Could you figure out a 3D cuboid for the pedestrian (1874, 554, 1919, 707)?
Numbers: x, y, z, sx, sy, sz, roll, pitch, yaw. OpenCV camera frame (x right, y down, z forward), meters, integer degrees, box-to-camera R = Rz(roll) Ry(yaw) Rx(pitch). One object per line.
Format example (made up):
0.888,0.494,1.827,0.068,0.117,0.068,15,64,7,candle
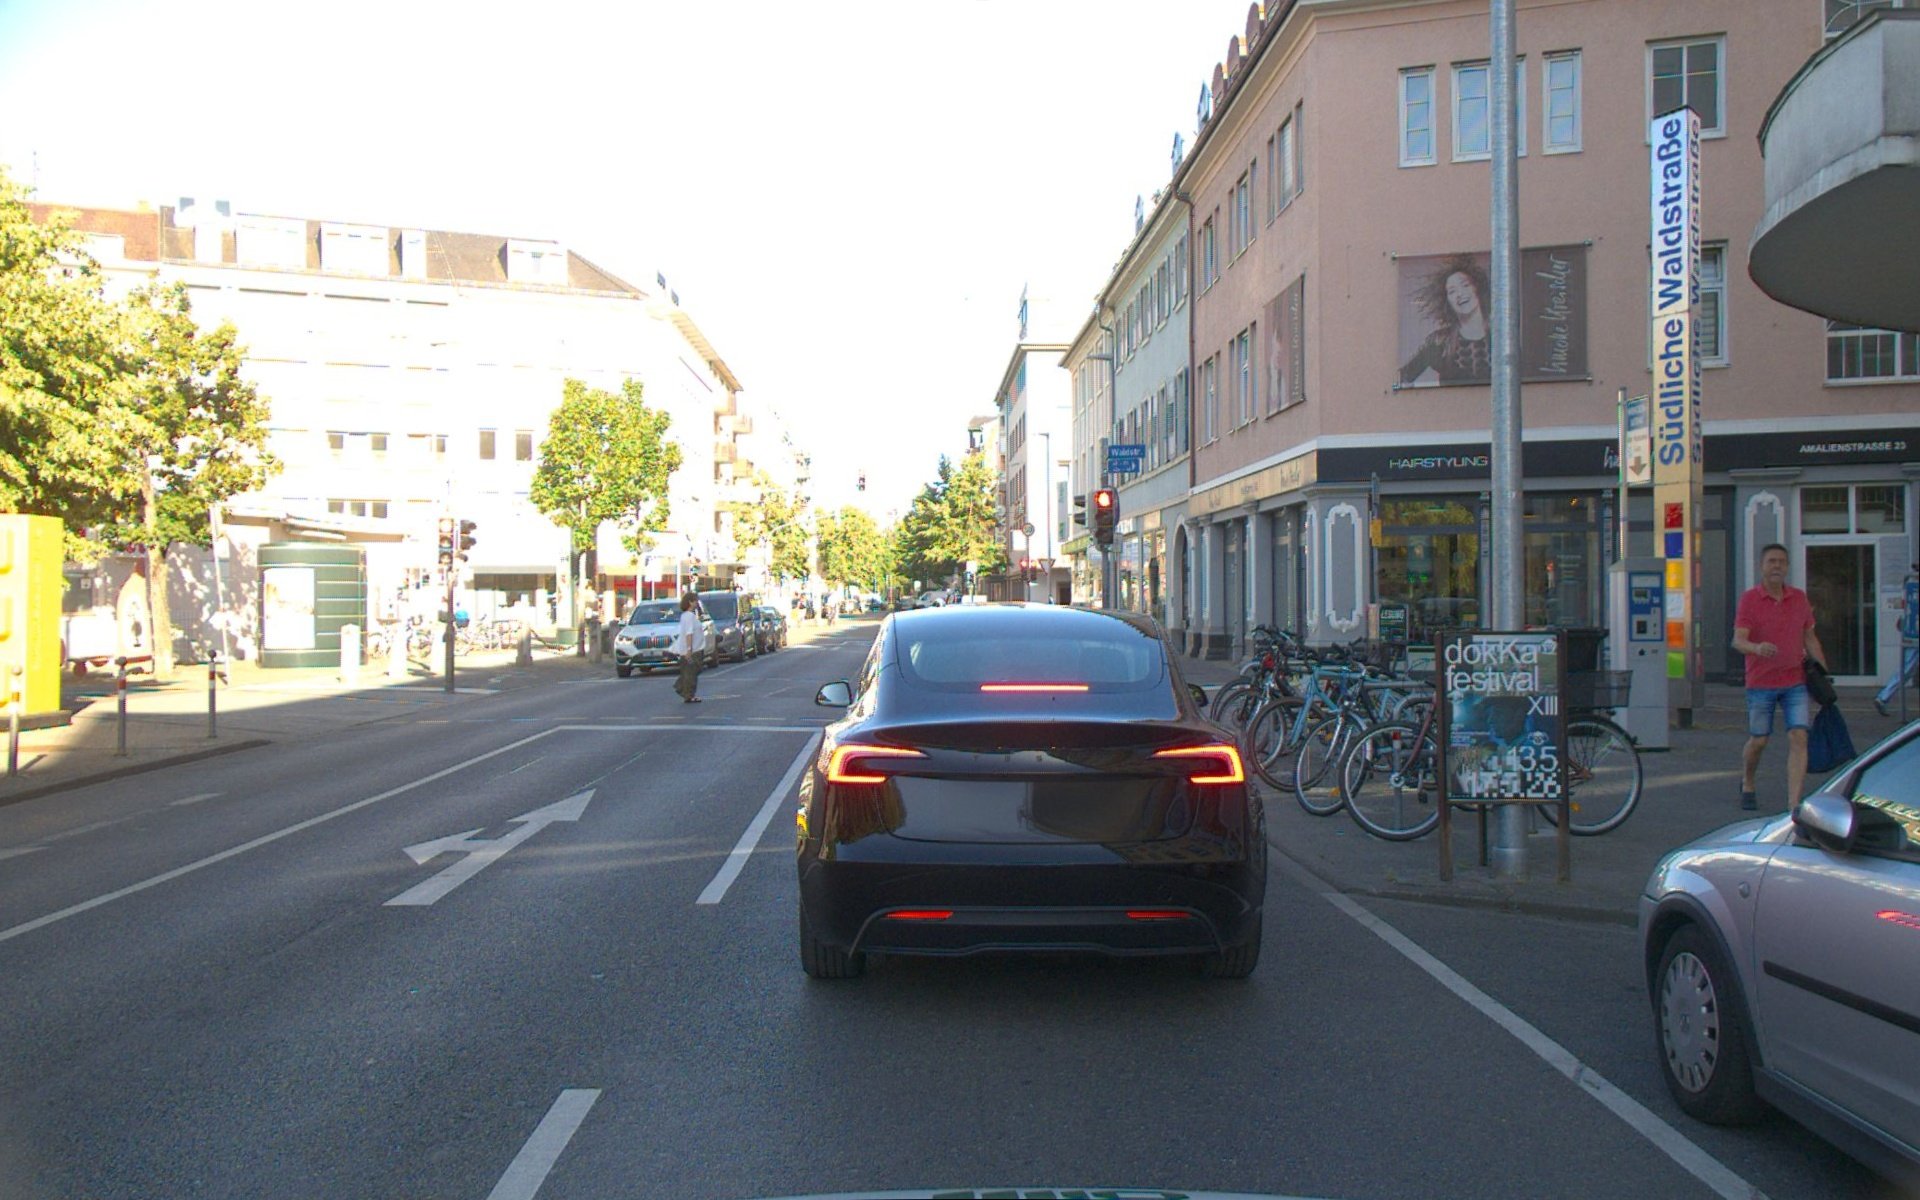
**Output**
10.929,0.346,18.883,0.763,1.713,0.826,-2,-2,27,pedestrian

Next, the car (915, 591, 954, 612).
-2.576,0.149,167.522,3.907,2.049,1.999,0,0,-2,car

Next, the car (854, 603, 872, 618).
-10.991,1.202,186.897,1.954,1.666,3.997,0,0,-4,car

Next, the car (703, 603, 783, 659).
-6.418,0.878,49.329,1.954,1.434,4.671,-4,0,-3,car

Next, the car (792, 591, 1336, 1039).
0.321,0.718,7.503,1.810,1.480,3.999,0,0,-1,car

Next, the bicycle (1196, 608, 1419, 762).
3.059,0.742,14.723,1.822,1.280,0.833,-2,0,5,bicycle

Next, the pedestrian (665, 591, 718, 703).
-3.857,0.656,23.716,0.733,1.579,0.697,0,0,-11,pedestrian

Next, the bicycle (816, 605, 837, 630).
-7.698,0.992,95.406,1.089,1.368,3.997,0,0,-4,bicycle

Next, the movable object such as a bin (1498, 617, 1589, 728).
6.029,0.743,17.108,0.718,1.111,0.627,1,0,1,movable object such as a bin

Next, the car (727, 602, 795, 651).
-6.802,0.866,56.915,1.954,1.461,4.671,-4,0,-3,car

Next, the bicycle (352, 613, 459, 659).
-14.186,0.918,42.359,2.455,1.176,0.842,0,0,-2,bicycle

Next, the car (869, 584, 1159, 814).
0.294,0.661,13.212,1.953,1.538,4.173,0,0,-2,car

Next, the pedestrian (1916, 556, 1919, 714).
11.049,0.385,18.144,0.698,1.743,0.732,0,0,-28,pedestrian

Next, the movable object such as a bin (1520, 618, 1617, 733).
6.050,0.741,16.471,0.737,1.111,0.627,1,0,1,movable object such as a bin

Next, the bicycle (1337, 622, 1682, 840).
3.292,0.777,10.034,1.846,1.214,0.692,-2,1,5,bicycle

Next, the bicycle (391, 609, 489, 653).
-14.100,0.837,44.893,2.412,1.176,0.842,0,0,-2,bicycle

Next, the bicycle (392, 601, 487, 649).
-14.708,0.692,46.816,2.429,1.347,0.921,0,0,-6,bicycle

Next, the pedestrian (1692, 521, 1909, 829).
5.280,0.455,10.460,0.846,1.815,1.009,-3,-1,7,pedestrian

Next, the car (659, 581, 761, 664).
-6.355,0.531,42.508,1.797,1.877,4.674,-4,0,0,car

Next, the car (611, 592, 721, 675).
-6.378,0.682,36.276,1.771,1.582,4.307,-4,0,-3,car

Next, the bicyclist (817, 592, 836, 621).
-7.714,0.365,95.500,1.104,1.657,0.964,0,0,-4,bicyclist

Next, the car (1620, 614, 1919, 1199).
2.938,0.772,3.523,1.580,1.406,3.642,1,0,0,car

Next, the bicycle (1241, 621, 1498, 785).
3.063,0.764,12.514,1.760,1.144,0.782,-2,0,5,bicycle

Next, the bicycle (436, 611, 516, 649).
-15.210,0.936,51.993,2.279,1.176,0.841,0,0,-6,bicycle

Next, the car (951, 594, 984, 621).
0.449,0.449,100.751,1.953,1.657,3.999,0,0,-1,car

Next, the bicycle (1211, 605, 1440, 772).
2.994,0.715,13.692,1.709,1.289,0.781,-2,0,2,bicycle

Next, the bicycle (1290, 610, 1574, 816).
3.146,0.743,11.164,1.686,1.290,0.791,-2,0,5,bicycle

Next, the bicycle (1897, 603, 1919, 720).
10.264,0.642,17.020,0.645,1.220,2.212,0,0,18,bicycle

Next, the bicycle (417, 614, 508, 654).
-14.886,1.010,49.570,2.485,1.176,0.841,0,0,-6,bicycle
